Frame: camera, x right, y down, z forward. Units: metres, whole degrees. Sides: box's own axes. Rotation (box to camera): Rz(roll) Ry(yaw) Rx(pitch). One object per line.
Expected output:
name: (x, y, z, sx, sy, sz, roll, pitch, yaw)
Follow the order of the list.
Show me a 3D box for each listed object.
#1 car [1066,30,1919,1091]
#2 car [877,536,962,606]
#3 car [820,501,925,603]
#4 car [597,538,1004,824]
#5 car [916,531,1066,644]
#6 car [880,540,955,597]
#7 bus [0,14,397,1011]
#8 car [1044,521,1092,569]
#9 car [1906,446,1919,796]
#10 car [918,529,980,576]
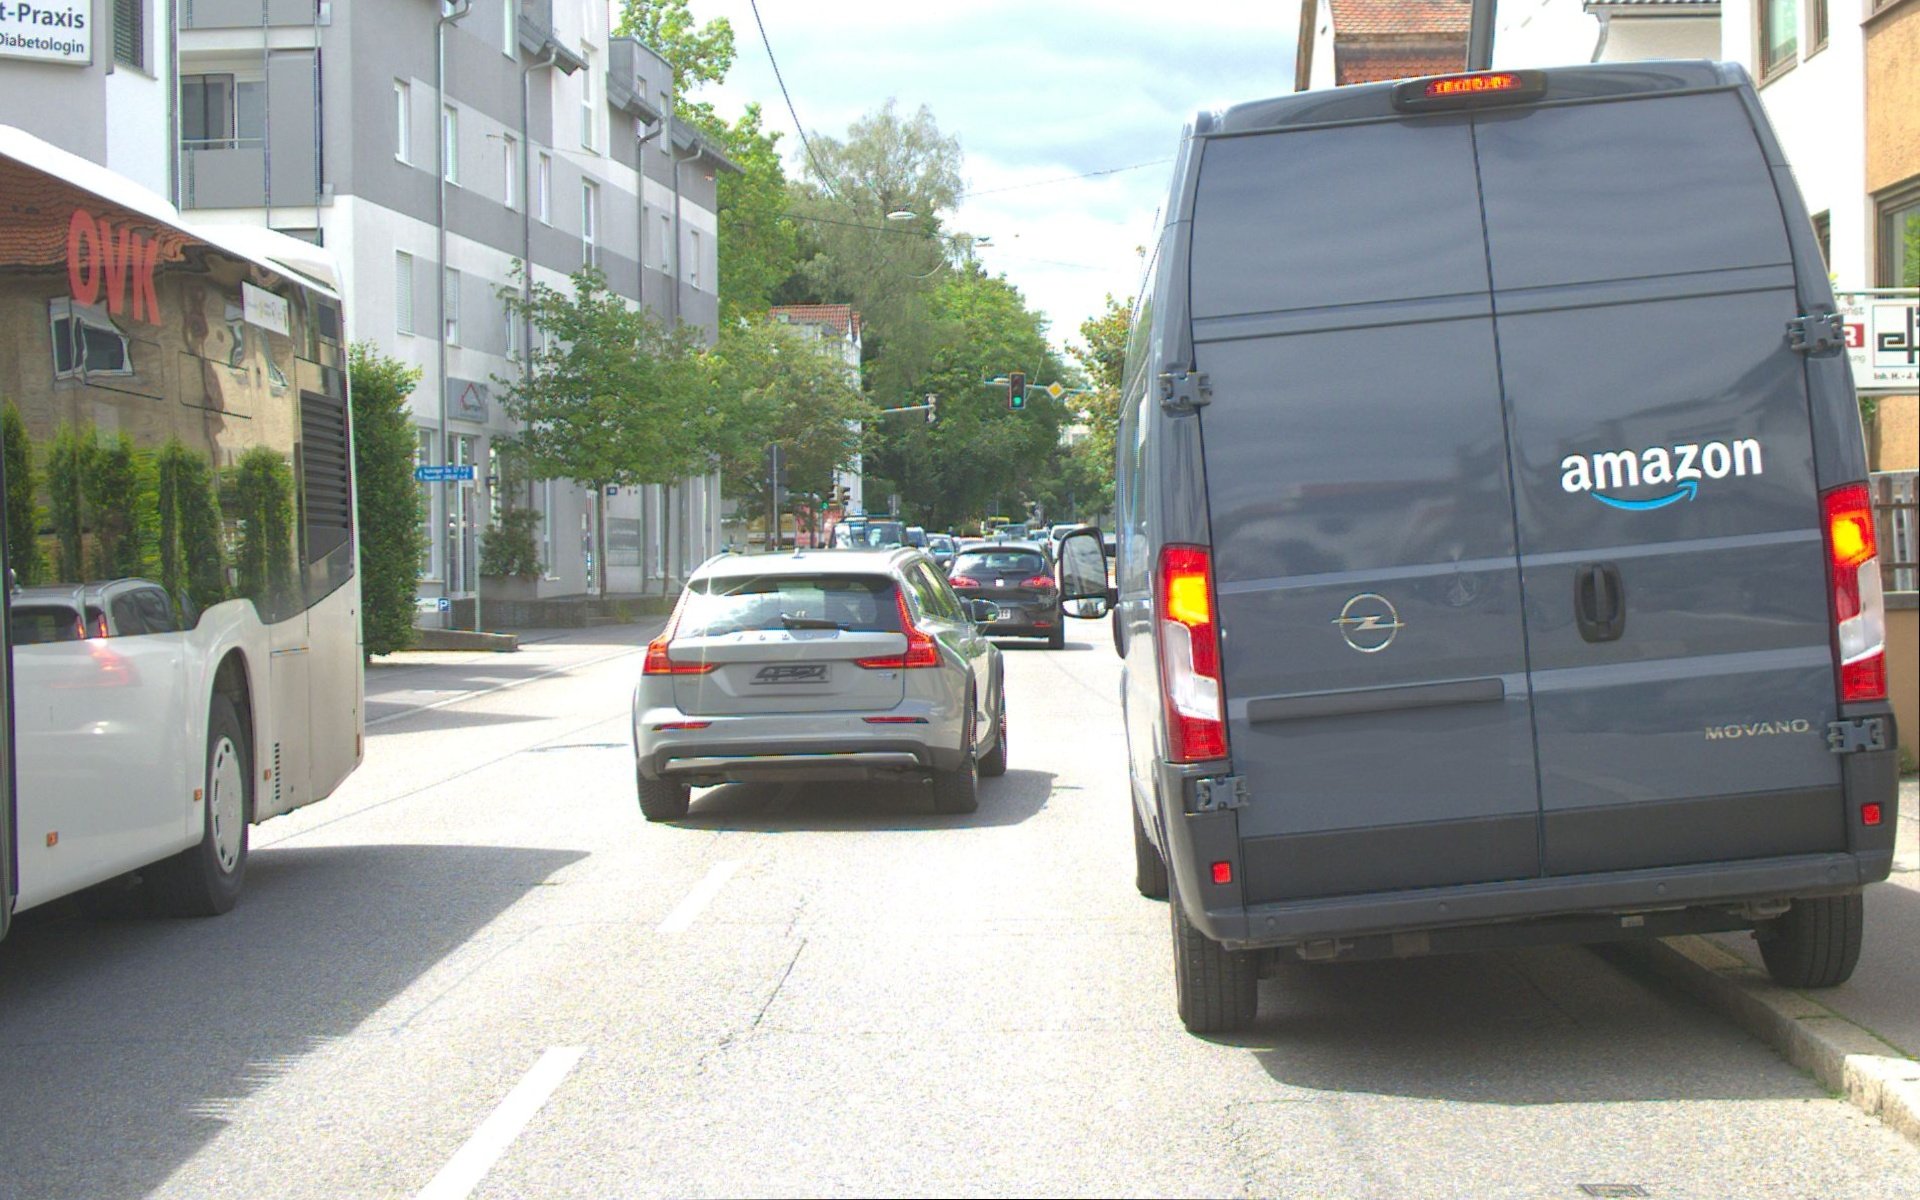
car: (1.568, -0.156, 11.920, 2.252, 2.786, 5.569, -1, 1, 1)
car: (-1.022, -0.776, 89.192, 2.105, 1.704, 4.766, -1, 1, 0)
car: (-1.922, -1.092, 77.107, 2.105, 2.114, 4.766, -3, 1, 0)
car: (-0.809, 0.390, 19.925, 1.897, 1.448, 3.968, -1, 1, 4)
car: (0.464, -0.199, 47.070, 1.896, 1.441, 3.968, -1, 1, 2)
car: (-1.218, -0.933, 101.088, 2.105, 1.590, 4.650, -1, 1, 0)
bus: (-4.364, -0.322, 13.878, 2.716, 3.153, 8.069, -1, 1, 1)
car: (4.678, -2.362, 147.900, 1.994, 2.007, 4.000, -1, 1, 2)
car: (5.304, 0.118, 13.528, 1.860, 1.606, 4.586, -2, 1, 0)
car: (-0.372, -1.699, 121.805, 2.105, 1.590, 4.650, -1, 1, 0)
